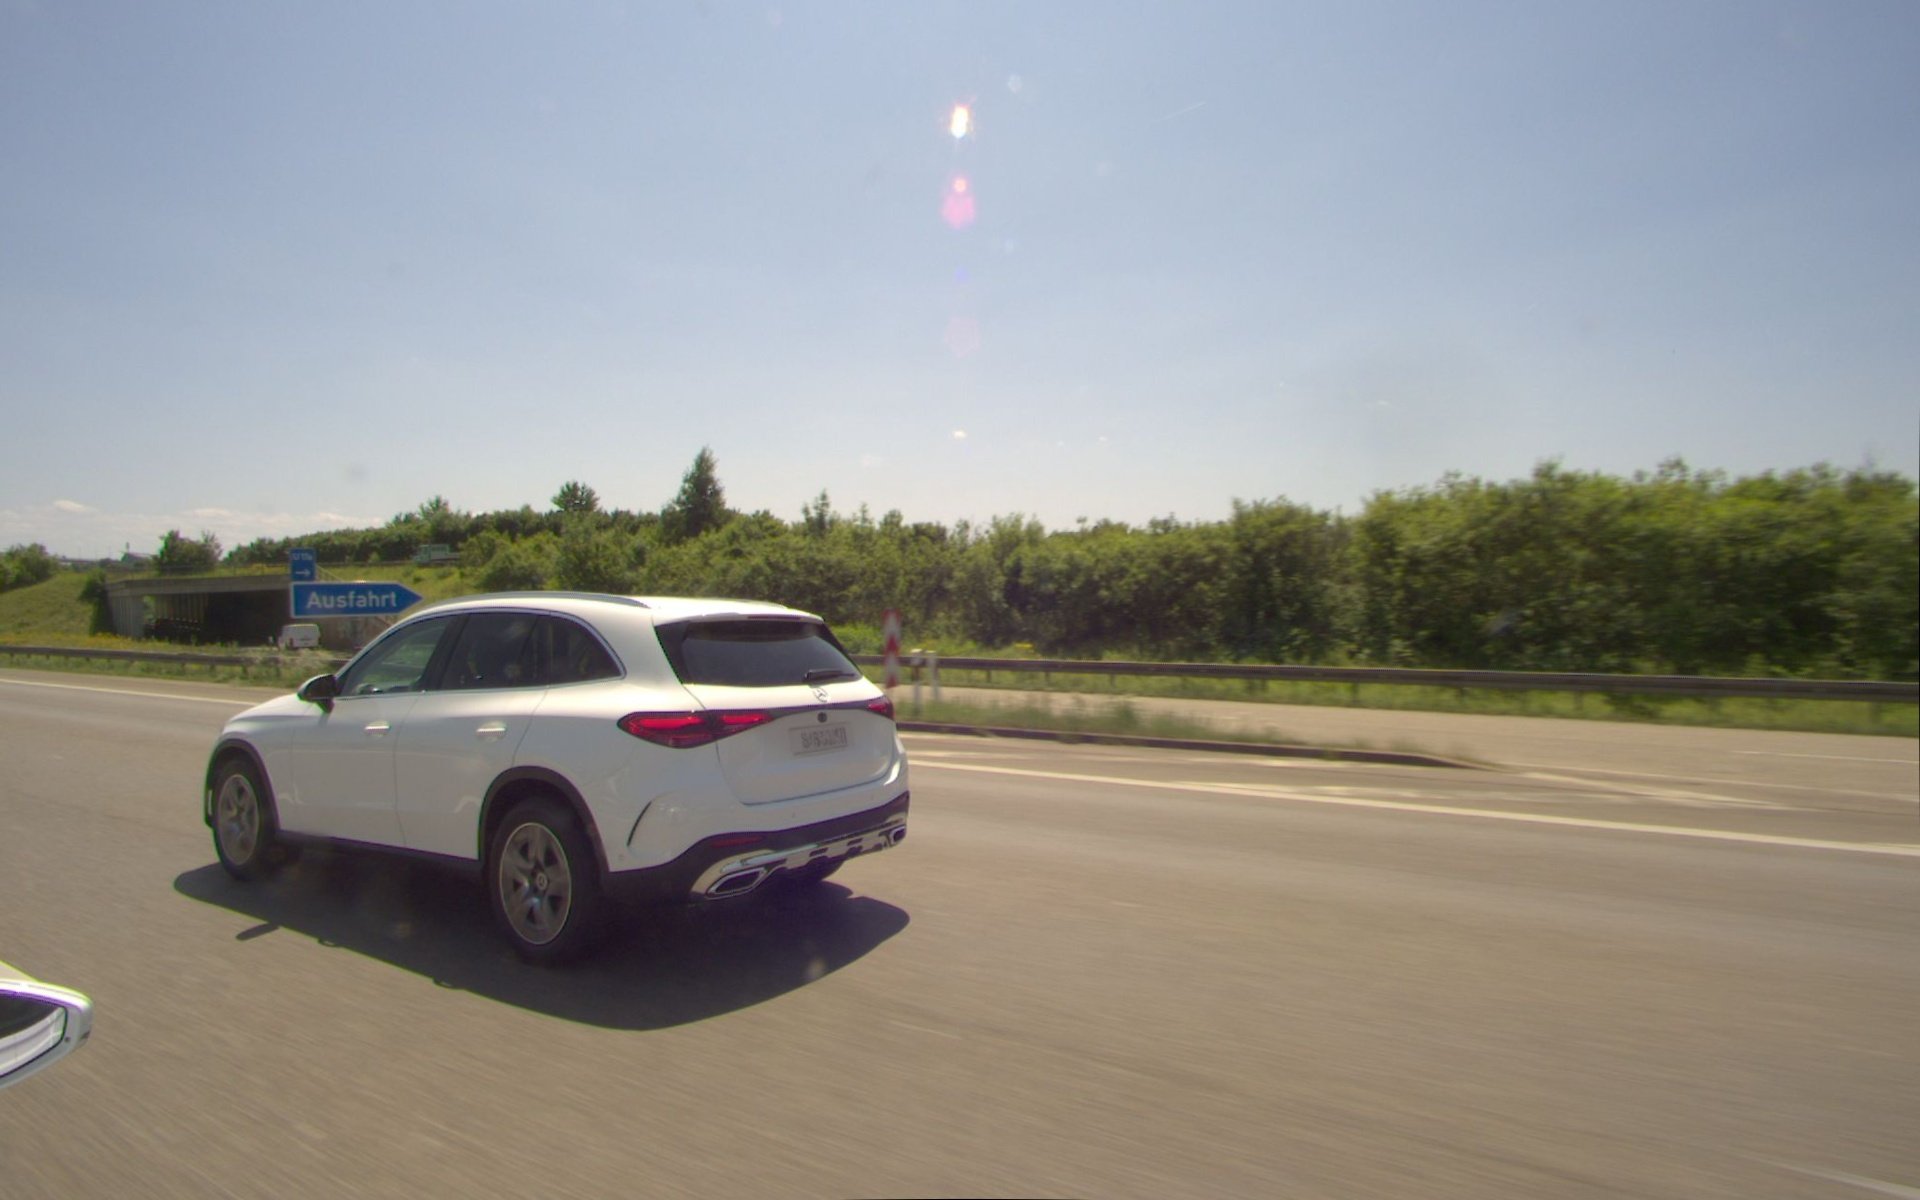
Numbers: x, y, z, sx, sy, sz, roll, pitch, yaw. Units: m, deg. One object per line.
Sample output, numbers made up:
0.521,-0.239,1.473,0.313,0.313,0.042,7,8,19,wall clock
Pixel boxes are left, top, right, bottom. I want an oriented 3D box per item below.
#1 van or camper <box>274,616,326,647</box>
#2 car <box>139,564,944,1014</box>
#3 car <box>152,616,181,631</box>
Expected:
-44.900,2.170,68.101,2.143,2.039,4.262,1,-2,-45,van or camper
-2.665,0.793,5.858,4.928,1.668,1.895,-2,-2,33,car
-96.971,2.905,122.384,3.954,1.772,1.985,-2,-2,40,car
